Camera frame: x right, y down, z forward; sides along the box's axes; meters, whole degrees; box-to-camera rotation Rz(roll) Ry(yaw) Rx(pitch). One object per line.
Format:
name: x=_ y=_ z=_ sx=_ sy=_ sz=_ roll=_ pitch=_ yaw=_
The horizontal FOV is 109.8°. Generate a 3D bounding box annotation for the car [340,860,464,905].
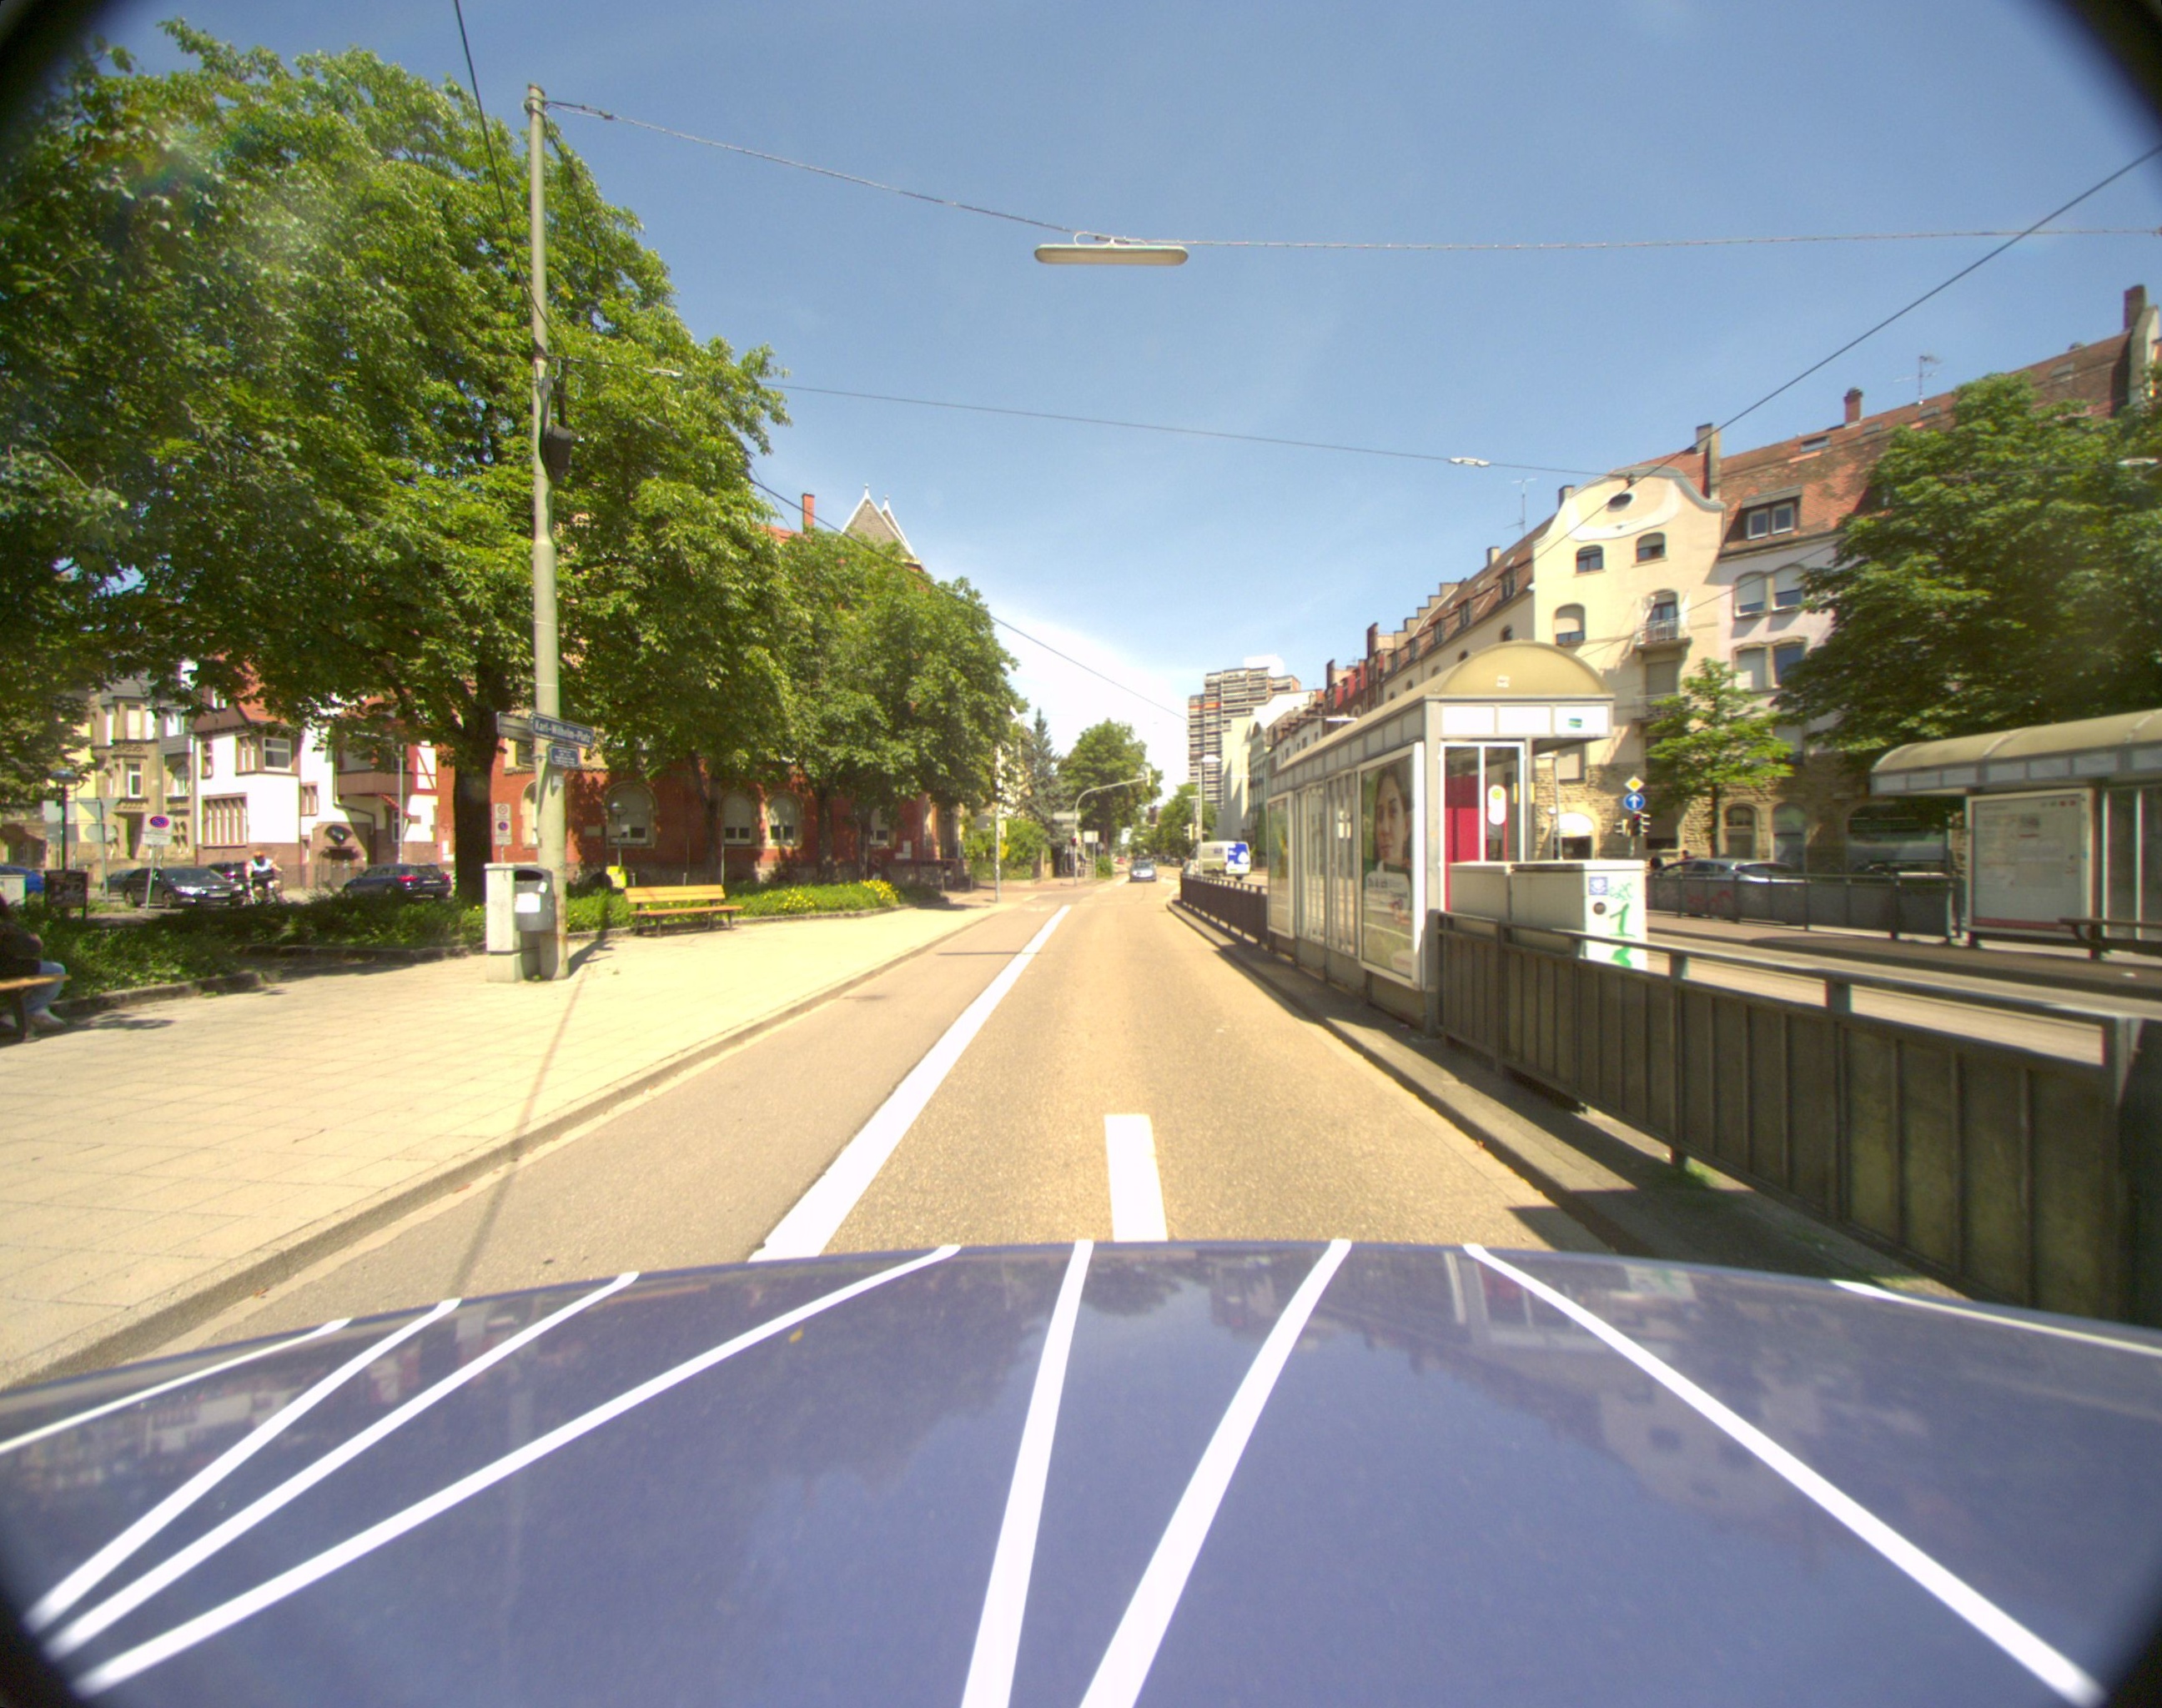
car: x=-27.043 y=1.129 z=30.284 sx=4.299 sy=1.608 sz=1.941 roll=-2 pitch=1 yaw=23

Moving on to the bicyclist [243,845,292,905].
bicyclist: x=-23.957 y=0.609 z=22.385 sx=1.250 sy=1.686 sz=0.876 roll=-1 pitch=1 yaw=41

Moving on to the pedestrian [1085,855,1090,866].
pedestrian: x=1.062 y=1.052 z=126.444 sx=0.686 sy=1.732 sz=0.660 roll=-2 pitch=1 yaw=3

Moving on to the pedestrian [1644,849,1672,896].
pedestrian: x=20.136 y=0.641 z=26.519 sx=0.594 sy=1.637 sz=0.474 roll=0 pitch=0 yaw=1

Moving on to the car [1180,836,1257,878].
car: x=9.250 y=0.207 z=51.692 sx=2.276 sy=2.658 sz=5.816 roll=-3 pitch=1 yaw=-23

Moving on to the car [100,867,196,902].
car: x=-48.422 y=1.569 z=39.432 sx=4.299 sy=1.608 sz=1.941 roll=-2 pitch=1 yaw=23

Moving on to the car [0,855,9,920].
car: x=-37.660 y=1.198 z=23.792 sx=1.934 sy=2.178 sz=4.315 roll=-2 pitch=1 yaw=23

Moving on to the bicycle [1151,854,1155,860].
bicycle: x=18.126 y=0.773 z=191.468 sx=0.644 sy=1.503 sz=1.970 roll=-2 pitch=1 yaw=-2

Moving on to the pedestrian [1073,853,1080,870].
pedestrian: x=-0.419 y=0.742 z=73.681 sx=0.702 sy=1.645 sz=0.665 roll=0 pitch=0 yaw=1

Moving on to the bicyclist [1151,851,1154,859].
bicyclist: x=18.095 y=0.225 z=191.449 sx=0.644 sy=1.864 sz=0.716 roll=-2 pitch=1 yaw=-2

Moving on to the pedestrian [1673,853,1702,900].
pedestrian: x=20.287 y=0.744 z=25.419 sx=0.594 sy=1.542 sz=0.474 roll=0 pitch=0 yaw=-1

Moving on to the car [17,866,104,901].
car: x=-59.177 y=1.707 z=44.078 sx=4.299 sy=1.862 sz=1.941 roll=-2 pitch=1 yaw=23

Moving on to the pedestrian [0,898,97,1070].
pedestrian: x=-7.744 y=0.908 z=5.413 sx=0.566 sy=1.136 sz=0.725 roll=0 pitch=1 yaw=-16

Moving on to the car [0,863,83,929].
car: x=-32.844 y=1.298 z=22.024 sx=1.934 sy=1.869 sz=4.315 roll=-2 pitch=1 yaw=23

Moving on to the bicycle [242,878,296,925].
bicycle: x=-24.459 y=1.381 z=22.856 sx=3.734 sy=1.256 sz=0.957 roll=-2 pitch=1 yaw=41

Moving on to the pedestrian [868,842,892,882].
pedestrian: x=-9.209 y=0.361 z=34.825 sx=0.840 sy=1.813 sz=0.672 roll=-1 pitch=1 yaw=-37

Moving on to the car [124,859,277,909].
car: x=-31.430 y=1.065 z=27.137 sx=4.515 sy=1.608 sz=1.940 roll=-2 pitch=1 yaw=19

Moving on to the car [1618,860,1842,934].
car: x=14.837 y=0.902 z=17.720 sx=1.812 sy=1.386 sz=3.999 roll=-2 pitch=1 yaw=1

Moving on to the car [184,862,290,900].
car: x=-39.589 y=1.272 z=35.663 sx=4.299 sy=1.608 sz=1.941 roll=-2 pitch=1 yaw=23

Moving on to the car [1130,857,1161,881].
car: x=4.305 y=0.988 z=50.810 sx=1.895 sy=1.372 sz=4.001 roll=-2 pitch=1 yaw=5
